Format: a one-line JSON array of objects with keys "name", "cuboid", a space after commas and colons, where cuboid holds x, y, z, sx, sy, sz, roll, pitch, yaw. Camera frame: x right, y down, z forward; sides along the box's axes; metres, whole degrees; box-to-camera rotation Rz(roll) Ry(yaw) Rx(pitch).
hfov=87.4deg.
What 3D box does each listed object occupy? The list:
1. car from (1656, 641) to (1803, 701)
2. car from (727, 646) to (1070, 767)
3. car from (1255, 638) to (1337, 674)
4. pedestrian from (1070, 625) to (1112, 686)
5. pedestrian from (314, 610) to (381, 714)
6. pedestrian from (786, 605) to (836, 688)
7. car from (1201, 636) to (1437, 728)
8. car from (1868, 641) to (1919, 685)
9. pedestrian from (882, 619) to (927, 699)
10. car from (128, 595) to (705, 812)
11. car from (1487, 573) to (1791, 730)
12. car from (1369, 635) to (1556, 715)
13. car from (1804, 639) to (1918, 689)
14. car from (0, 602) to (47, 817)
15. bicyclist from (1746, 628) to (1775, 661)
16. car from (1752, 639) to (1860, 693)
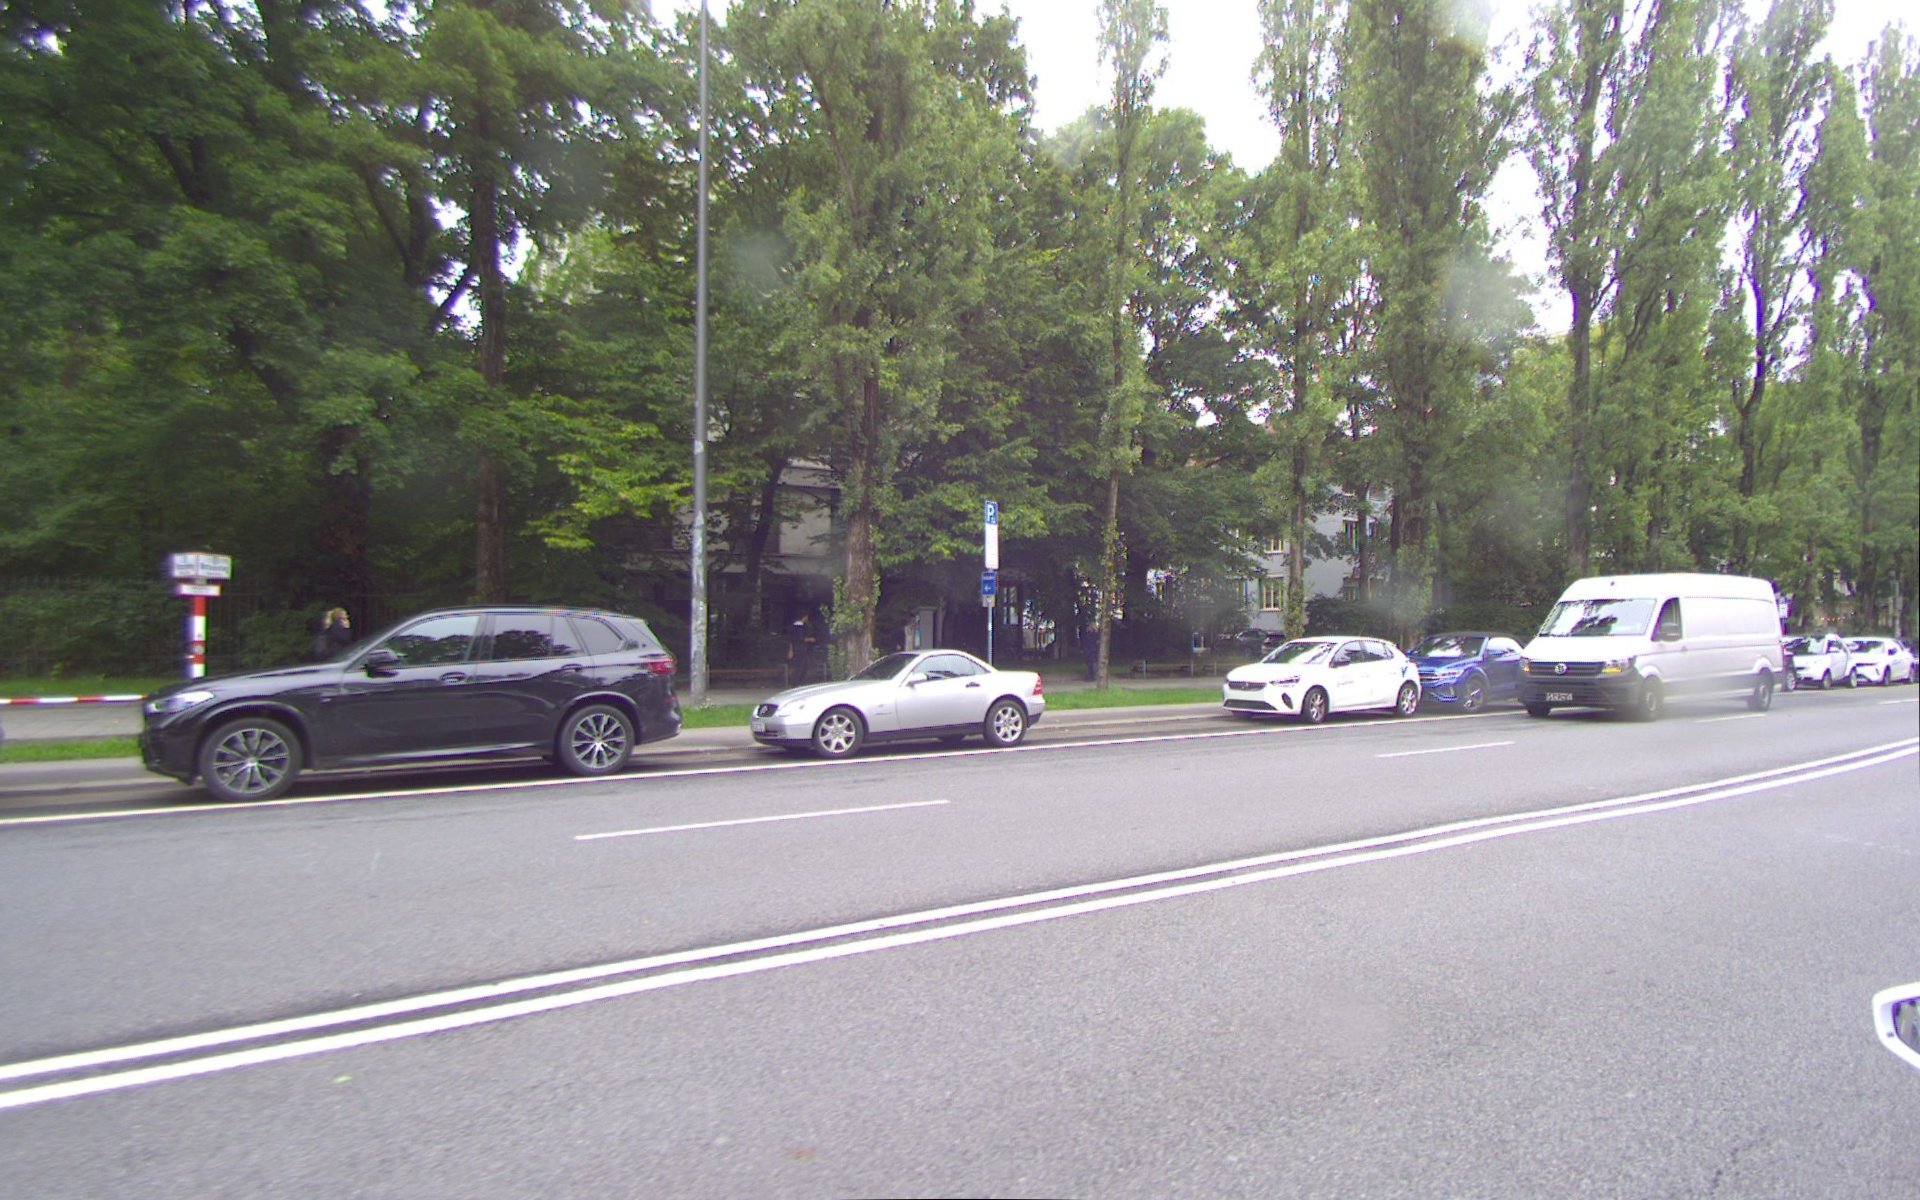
[{"name": "car", "cuboid": [19.947, 1.807, 26.024, 3.804, 1.444, 1.594, 1, -4, -29]}, {"name": "car", "cuboid": [-0.769, 1.317, 13.293, 4.185, 1.351, 1.818, 1, -4, -31]}, {"name": "car", "cuboid": [17.586, 2.876, 52.513, 3.953, 1.795, 1.984, 1, -1, -30]}, {"name": "pedestrian", "cuboid": [3.583, 1.497, 27.524, 0.871, 1.620, 0.733, 1, 0, -30]}, {"name": "pedestrian", "cuboid": [-10.642, 1.060, 17.488, 0.946, 1.764, 0.663, 1, -1, -30]}, {"name": "pedestrian", "cuboid": [-3.309, 1.026, 22.285, 0.879, 1.795, 0.733, 1, 0, -30]}, {"name": "car", "cuboid": [6.473, 1.415, 17.989, 4.187, 1.471, 1.761, 1, -4, -32]}, {"name": "car", "cuboid": [32.208, 2.087, 33.642, 4.122, 1.407, 1.614, 1, -4, -33]}, {"name": "pedestrian", "cuboid": [-1.201, 1.258, 21.684, 0.742, 1.686, 0.735, 1, -2, -29]}, {"name": "car", "cuboid": [-5.319, 0.957, 10.436, 4.841, 1.790, 1.931, 1, -4, -32]}, {"name": "car", "cuboid": [12.858, 0.943, 18.841, 6.684, 2.515, 2.216, 1, -3, -33]}, {"name": "car", "cuboid": [10.011, 1.458, 19.993, 3.546, 1.470, 1.701, 1, -4, -32]}, {"name": "car", "cuboid": [27.599, 1.933, 30.749, 4.124, 1.407, 1.614, 1, -4, -34]}, {"name": "car", "cuboid": [-10.470, 0.901, 7.454, 5.121, 1.812, 1.900, 1, -4, -31]}, {"name": "bicyclist", "cuboid": [42.758, 2.378, 53.676, 0.812, 1.745, 0.904, 1, -2, -20]}, {"name": "car", "cuboid": [23.988, 1.861, 28.481, 2.932, 1.466, 1.421, 1, -5, -31]}]
